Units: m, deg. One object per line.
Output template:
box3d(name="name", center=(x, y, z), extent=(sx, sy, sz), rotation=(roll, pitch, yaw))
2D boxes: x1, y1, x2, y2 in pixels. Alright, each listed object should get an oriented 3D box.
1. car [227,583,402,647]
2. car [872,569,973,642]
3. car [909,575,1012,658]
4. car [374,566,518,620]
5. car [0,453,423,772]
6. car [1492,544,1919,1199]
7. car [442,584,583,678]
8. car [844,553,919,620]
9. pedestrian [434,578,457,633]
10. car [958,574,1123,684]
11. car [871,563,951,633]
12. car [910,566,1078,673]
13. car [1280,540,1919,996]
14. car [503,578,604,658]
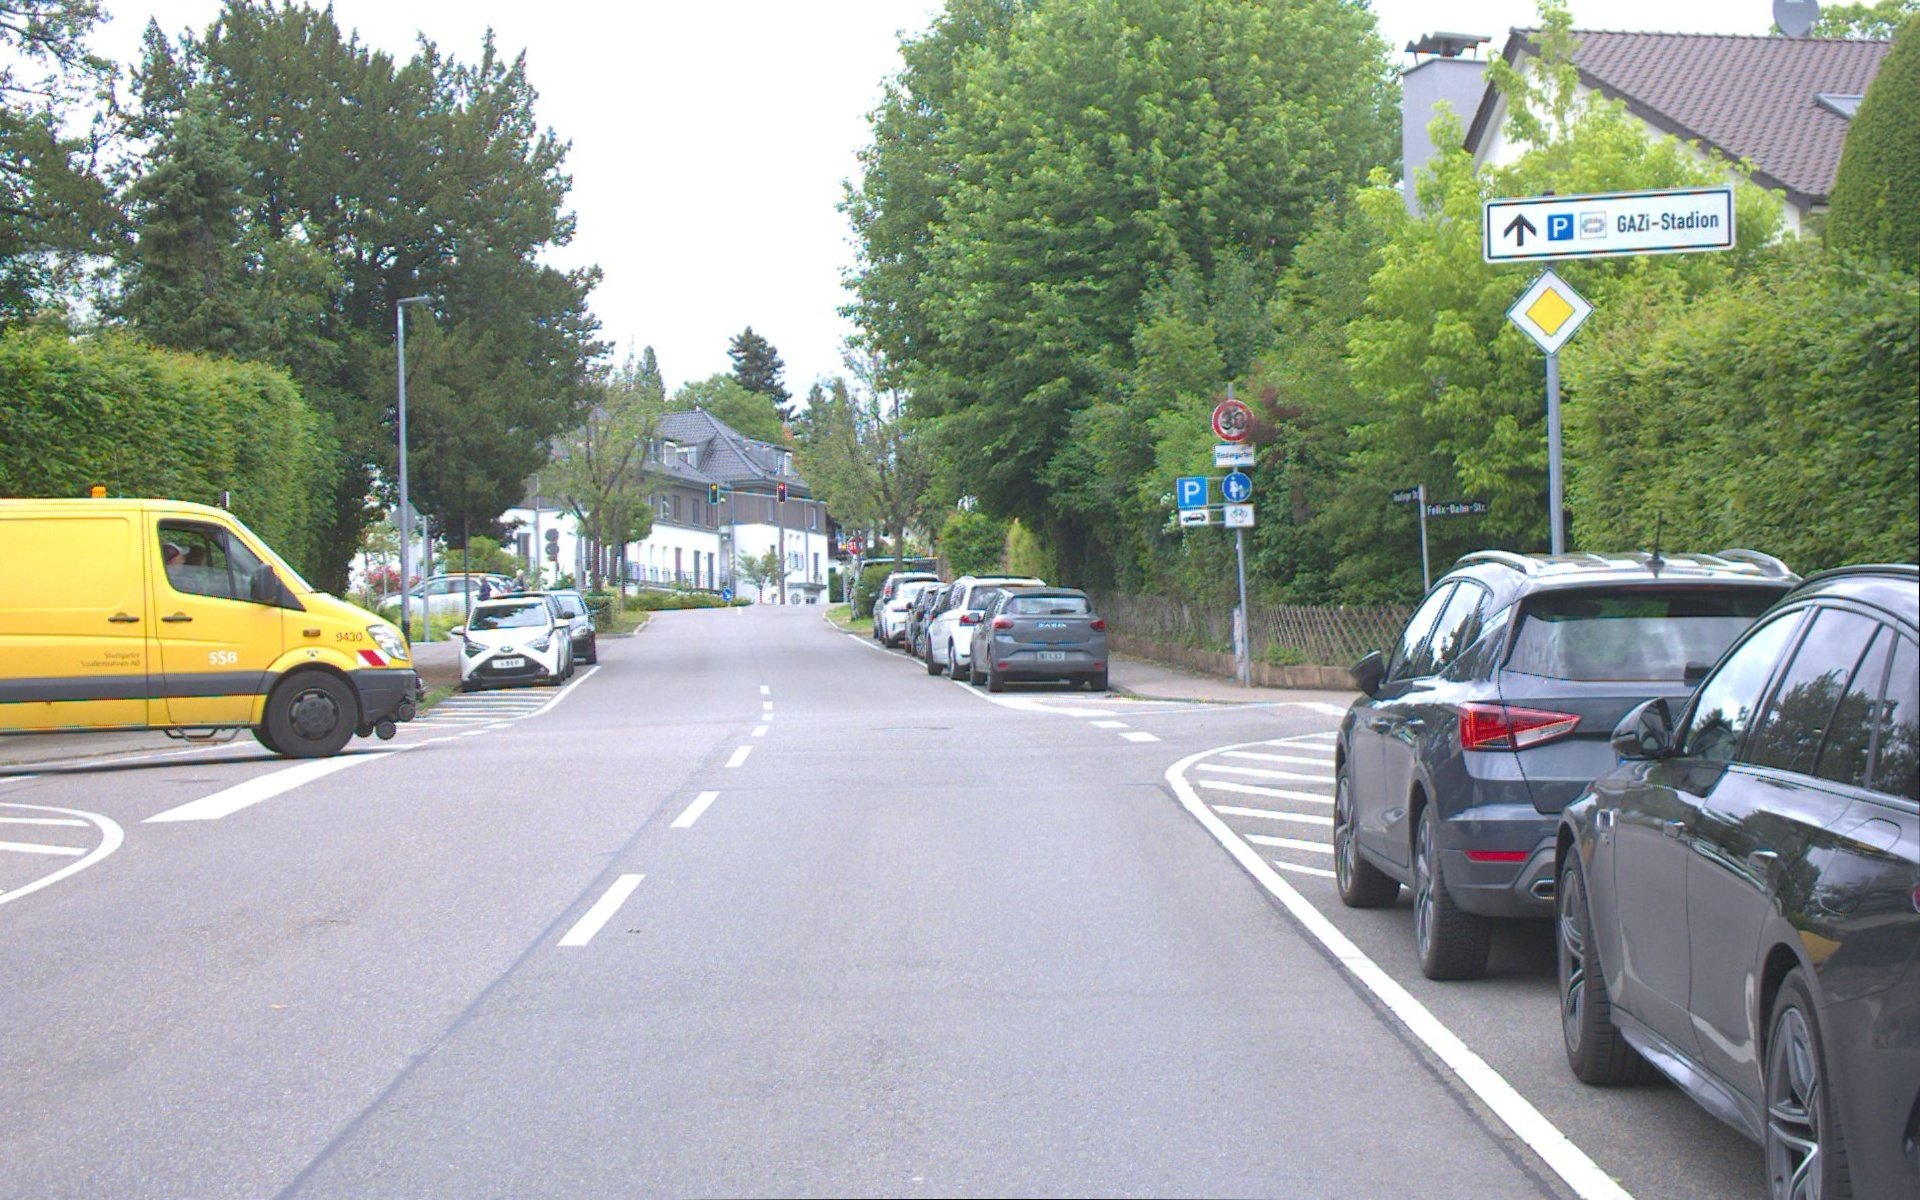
box3d(name="car", center=(-14.559, 0.331, 77.697), extent=(3.793, 1.349, 1.742), rotation=(-1, 1, -9))
box3d(name="car", center=(-0.866, 0.097, 76.834), extent=(1.993, 1.486, 5.005), rotation=(-2, 1, -3))
box3d(name="car", center=(-0.020, 0.296, 66.085), extent=(1.697, 1.503, 4.160), rotation=(1, 1, -4))
box3d(name="car", center=(-16.397, -0.224, 109.846), extent=(4.386, 1.561, 2.067), rotation=(-2, 1, -5))
box3d(name="car", center=(-7.997, 0.124, 30.027), extent=(6.122, 2.592, 2.369), rotation=(-2, 1, -20))
box3d(name="car", center=(2.602, 0.623, 8.367), extent=(1.923, 1.489, 5.208), rotation=(-2, 1, 2))
box3d(name="car", center=(-7.335, 0.486, 56.647), extent=(1.744, 1.443, 3.513), rotation=(-1, 1, 2))
box3d(name="car", center=(-2.302, -0.400, 99.401), extent=(1.936, 1.831, 5.219), rotation=(-1, 1, -4))
box3d(name="pedestrian", center=(-15.700, 0.162, 104.886), extent=(0.593, 1.635, 0.565), rotation=(-2, 0, -3))
box3d(name="car", center=(1.155, 0.400, 51.538), extent=(1.937, 1.486, 4.457), rotation=(-2, 1, -5))
box3d(name="car", center=(-1.206, -0.061, 82.768), extent=(1.716, 1.627, 3.929), rotation=(0, 0, -4))
box3d(name="car", center=(0.503, 0.278, 56.451), extent=(2.000, 1.603, 4.760), rotation=(-2, 1, -8))
box3d(name="car", center=(2.428, 0.532, 13.797), extent=(1.790, 1.483, 4.379), rotation=(-2, 1, -1))
box3d(name="car", center=(-8.101, 0.335, 68.801), extent=(1.850, 1.464, 4.684), rotation=(-2, 1, -5))
